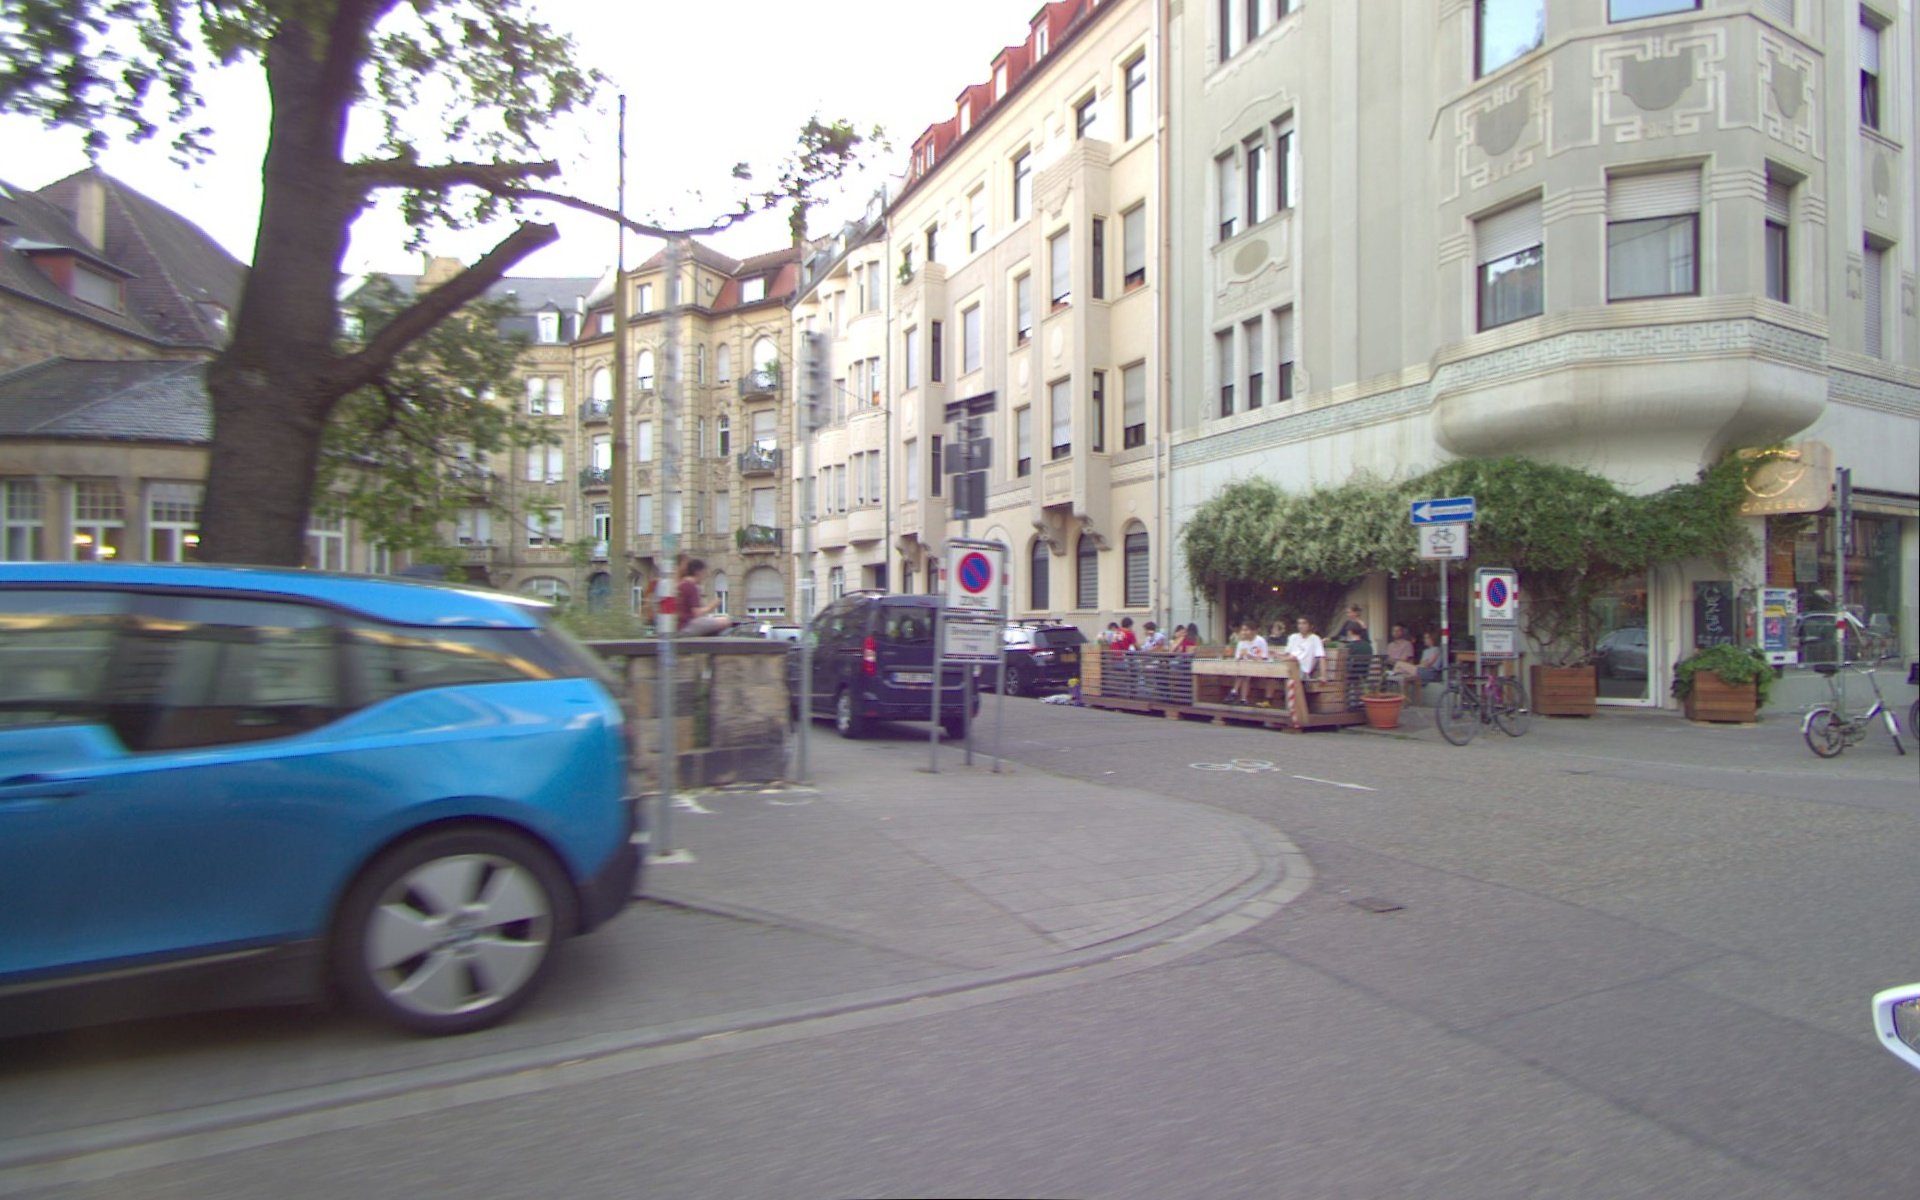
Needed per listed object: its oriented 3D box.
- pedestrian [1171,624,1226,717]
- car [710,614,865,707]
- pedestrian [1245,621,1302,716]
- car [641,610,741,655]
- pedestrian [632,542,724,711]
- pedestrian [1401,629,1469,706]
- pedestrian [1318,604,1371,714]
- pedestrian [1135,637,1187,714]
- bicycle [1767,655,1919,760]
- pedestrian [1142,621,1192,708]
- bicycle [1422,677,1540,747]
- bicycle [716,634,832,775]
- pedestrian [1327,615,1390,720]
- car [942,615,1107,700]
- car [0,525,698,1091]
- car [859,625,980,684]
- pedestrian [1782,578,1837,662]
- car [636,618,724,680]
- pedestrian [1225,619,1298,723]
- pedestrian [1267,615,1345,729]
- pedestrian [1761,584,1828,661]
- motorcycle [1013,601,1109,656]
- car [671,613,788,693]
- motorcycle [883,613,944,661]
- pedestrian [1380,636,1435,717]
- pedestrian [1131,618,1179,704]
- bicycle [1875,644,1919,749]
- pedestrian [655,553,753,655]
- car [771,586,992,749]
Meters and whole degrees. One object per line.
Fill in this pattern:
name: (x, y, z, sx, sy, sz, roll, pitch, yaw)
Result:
pedestrian: (3.760, 1.096, 15.870, 0.636, 1.430, 0.570, 0, -1, -26)
car: (-3.323, 1.030, 18.673, 1.699, 1.519, 4.184, 1, -1, -27)
pedestrian: (4.934, 1.058, 15.837, 0.636, 1.462, 0.570, 0, -1, -26)
car: (-12.345, 1.480, 45.940, 5.090, 1.884, 1.801, 0, -3, 40)
pedestrian: (-3.060, 0.287, 10.888, 0.827, 1.744, 0.703, 1, -1, -29)
pedestrian: (7.876, 1.097, 16.663, 0.769, 1.230, 0.688, 1, -1, -26)
pedestrian: (5.918, 0.896, 15.480, 0.539, 1.642, 0.538, 0, -1, -27)
pedestrian: (3.307, 1.228, 16.520, 0.566, 1.223, 0.640, 0, -1, -27)
bicycle: (9.512, 1.129, 10.746, 1.689, 1.026, 0.423, -1, 0, -14)
pedestrian: (3.573, 1.094, 17.378, 0.566, 1.466, 0.640, 0, -1, -27)
bicycle: (6.547, 1.386, 12.589, 1.758, 0.705, 0.421, -2, 0, -30)
bicycle: (-1.810, 0.916, 9.527, 0.548, 1.149, 2.133, 0, -1, -25)
pedestrian: (5.780, 0.962, 14.566, 0.636, 1.488, 0.569, 0, -1, -29)
car: (1.283, 1.202, 21.864, 1.717, 1.639, 4.123, 3, -3, -26)
car: (-3.074, 0.586, 3.513, 3.951, 1.576, 1.635, 0, -1, -26)
car: (-1.184, 1.424, 27.205, 1.717, 1.448, 4.123, 3, -2, -26)
pedestrian: (14.152, 0.333, 16.738, 0.511, 1.368, 0.537, 1, 0, -26)
car: (-7.868, 1.314, 28.002, 1.612, 1.592, 4.010, 1, -1, -27)
pedestrian: (4.445, 1.028, 14.836, 0.774, 1.488, 0.699, 0, -1, -28)
pedestrian: (4.884, 0.994, 14.194, 0.774, 1.561, 0.699, 0, -1, -28)
pedestrian: (12.984, 0.342, 15.631, 0.738, 1.169, 0.555, 1, 0, -28)
motorcycle: (2.497, 0.710, 25.495, 0.807, 1.297, 3.388, 1, -1, -26)
car: (-5.448, 1.152, 23.362, 1.699, 1.674, 4.184, 1, -1, -27)
motorcycle: (-1.599, 1.216, 33.799, 0.807, 1.514, 3.388, 1, -1, -26)
pedestrian: (7.048, 1.193, 15.821, 0.598, 1.230, 0.528, 1, -1, -26)
pedestrian: (3.531, 1.090, 18.181, 0.636, 1.521, 0.569, 0, -1, -28)
bicycle: (10.676, 1.062, 10.358, 0.491, 1.109, 2.116, -1, 0, -2)
pedestrian: (-2.617, 0.049, 10.255, 0.827, 0.993, 0.703, 1, -1, -29)
car: (-1.233, 0.824, 13.775, 1.864, 1.868, 3.978, 0, -1, -23)
